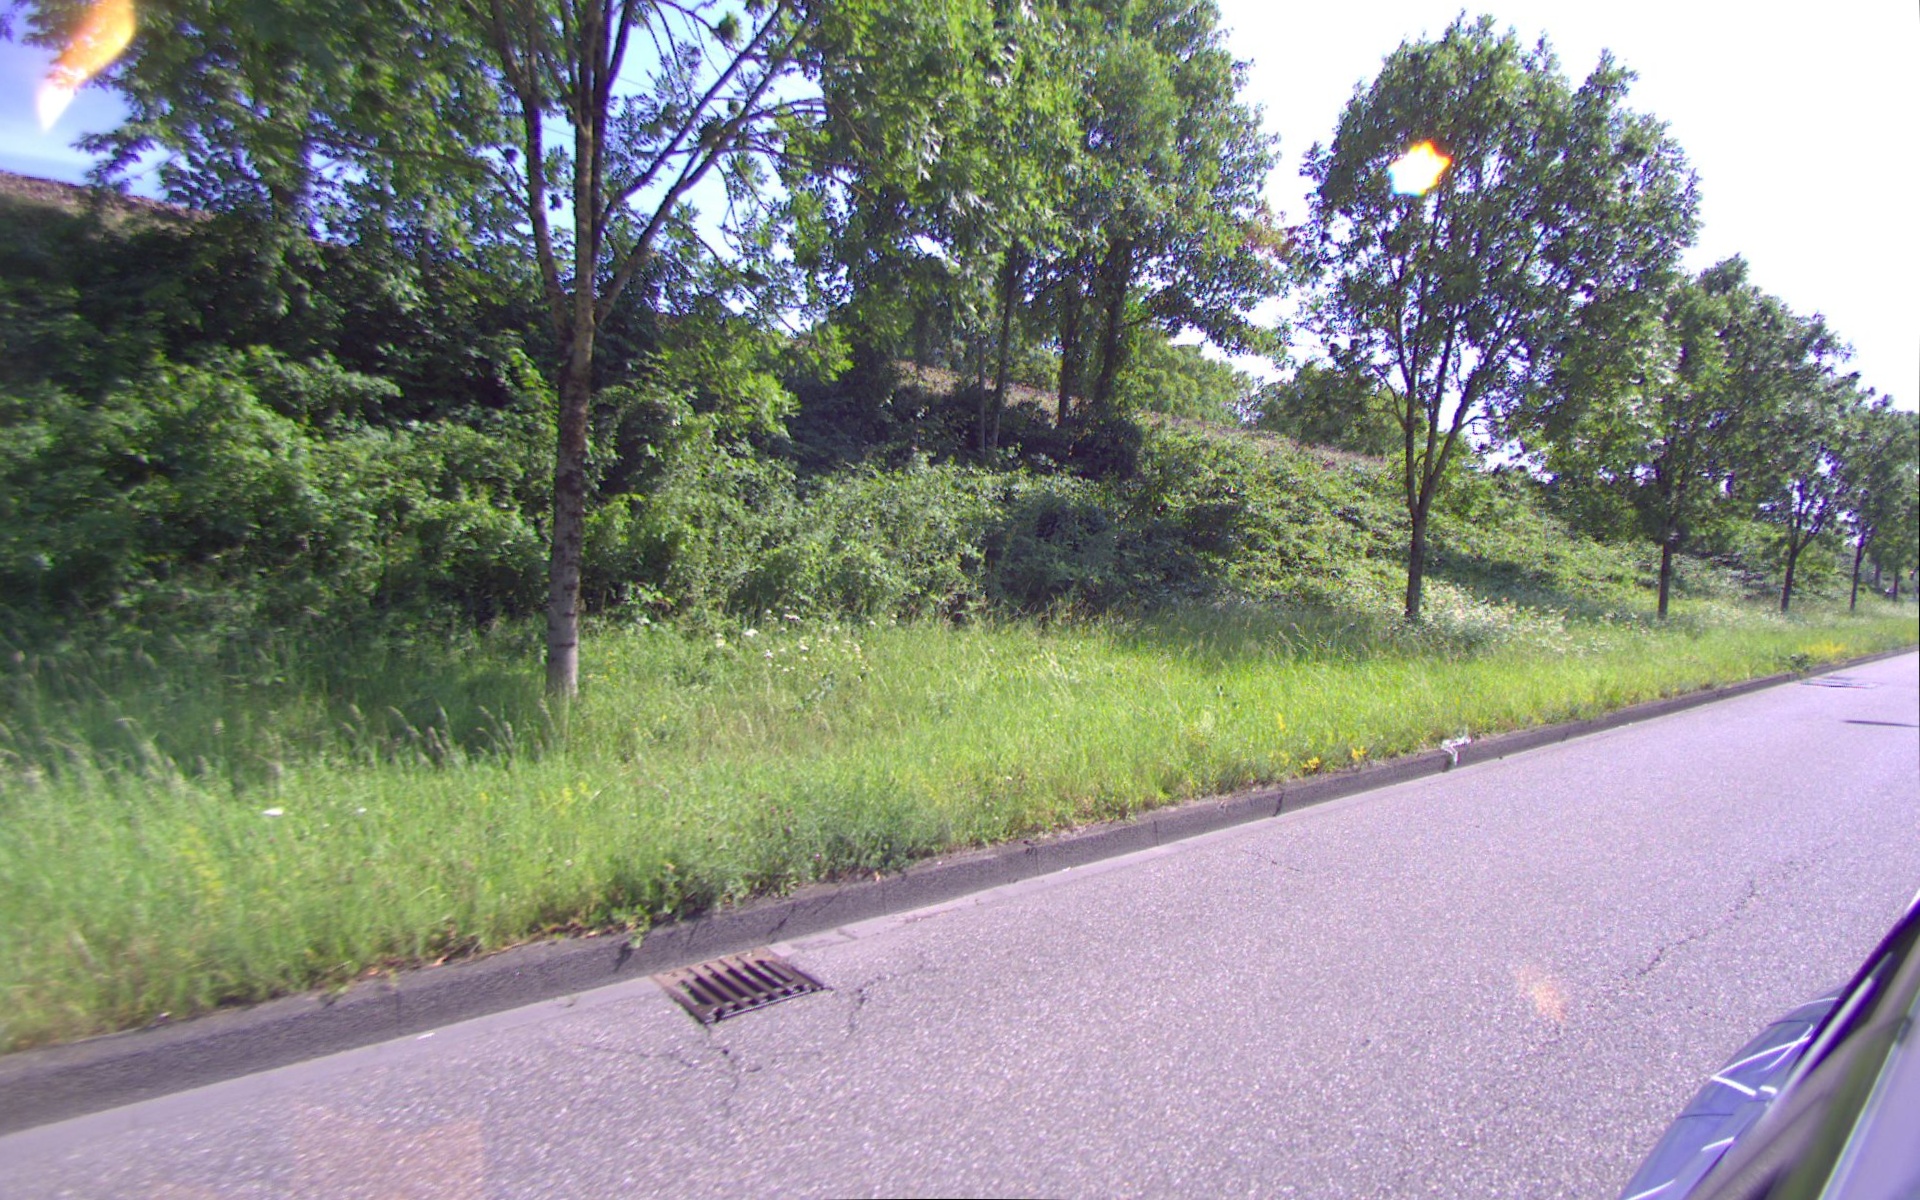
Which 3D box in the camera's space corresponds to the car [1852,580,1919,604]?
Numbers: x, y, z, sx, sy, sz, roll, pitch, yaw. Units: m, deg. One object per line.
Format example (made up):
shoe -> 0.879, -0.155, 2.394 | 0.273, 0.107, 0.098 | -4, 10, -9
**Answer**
car -> 89.624, -0.812, 97.811 | 4.664, 2.039, 1.986 | 3, -1, 21
